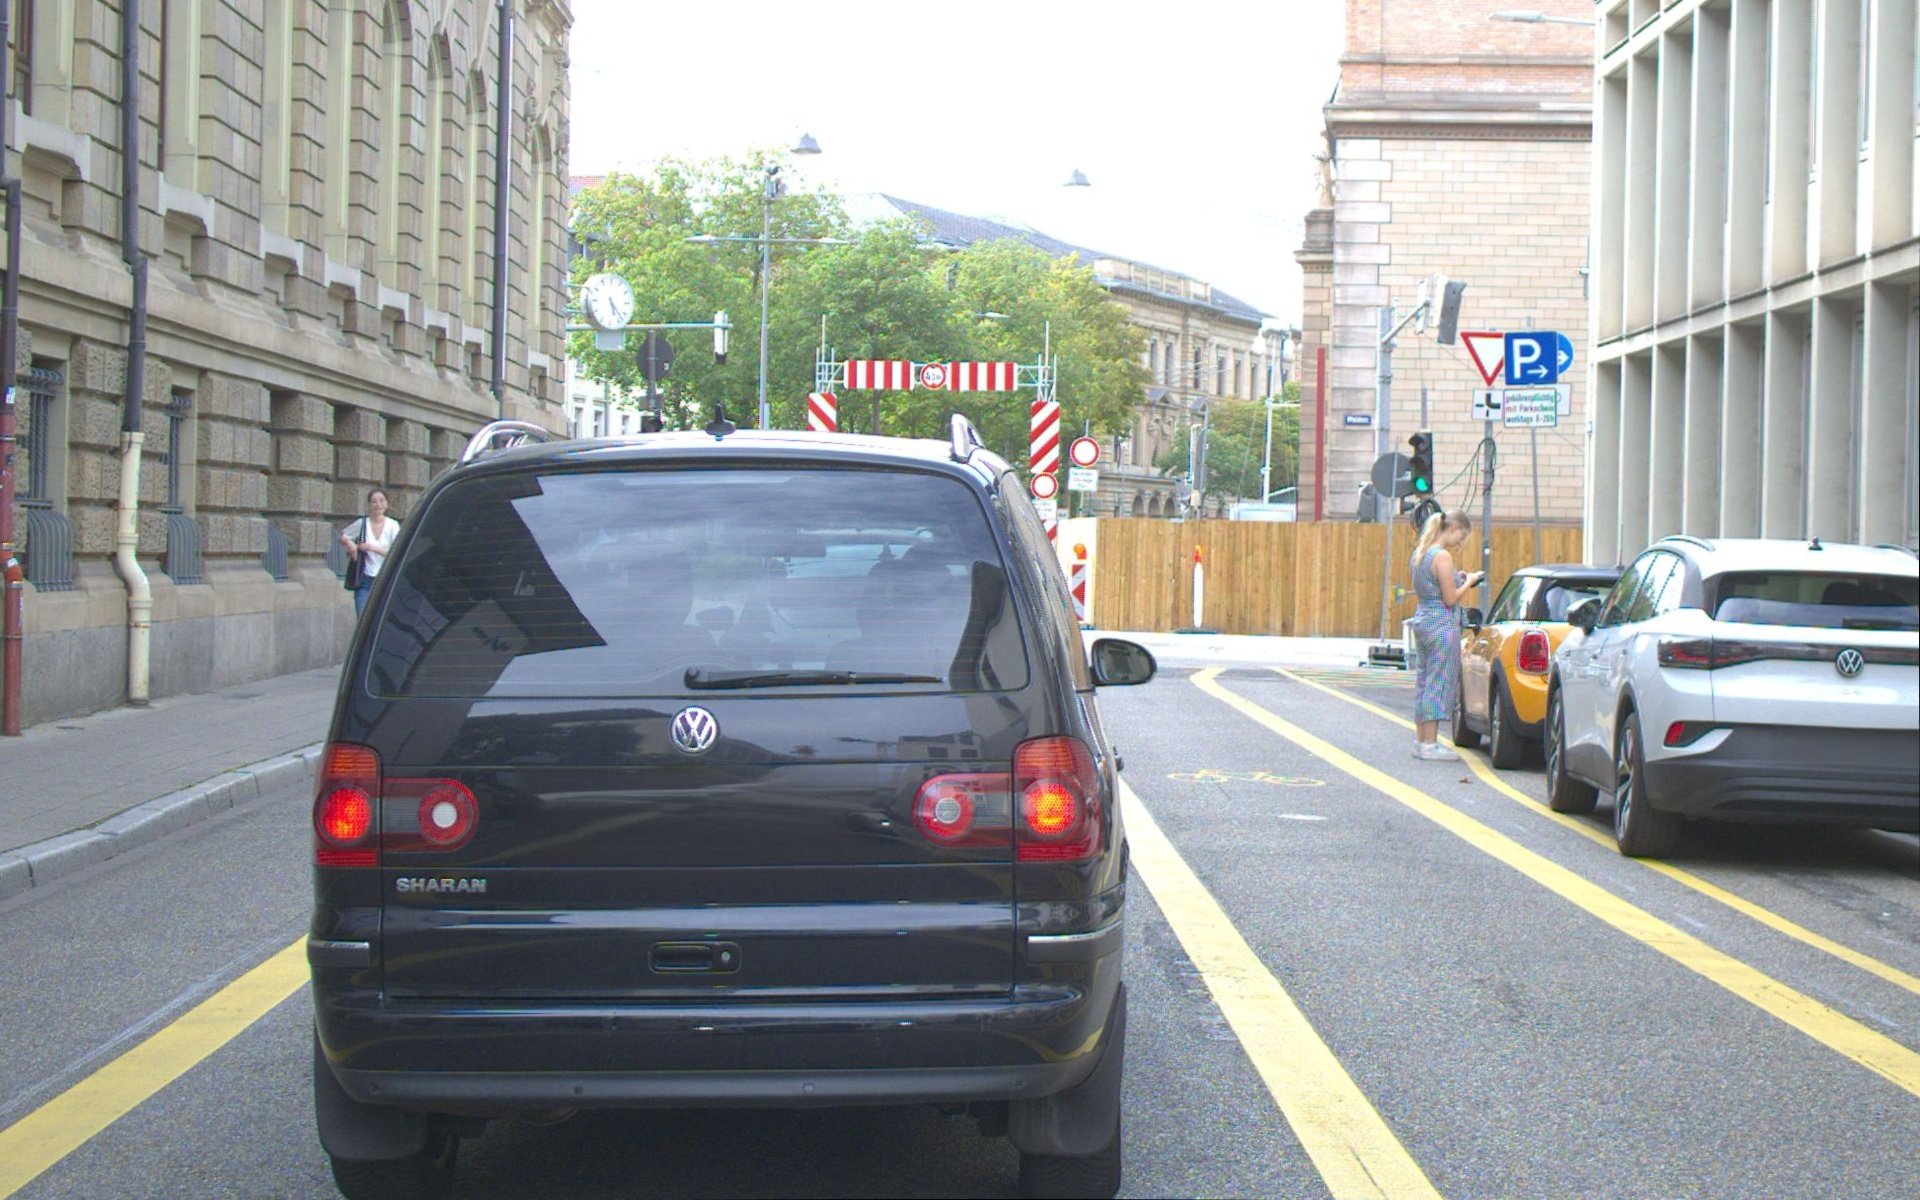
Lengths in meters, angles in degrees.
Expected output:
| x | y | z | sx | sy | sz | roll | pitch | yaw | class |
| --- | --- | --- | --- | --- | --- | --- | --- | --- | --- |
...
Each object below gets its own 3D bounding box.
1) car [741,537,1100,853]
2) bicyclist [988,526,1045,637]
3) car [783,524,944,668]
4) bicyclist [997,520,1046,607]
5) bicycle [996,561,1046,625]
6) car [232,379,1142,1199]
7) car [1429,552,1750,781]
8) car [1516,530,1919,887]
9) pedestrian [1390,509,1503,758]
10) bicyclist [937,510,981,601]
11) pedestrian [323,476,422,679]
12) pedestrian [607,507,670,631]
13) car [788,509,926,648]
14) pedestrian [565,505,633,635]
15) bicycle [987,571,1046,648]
| x | y | z | sx | sy | sz | roll | pitch | yaw | class |
| --- | --- | --- | --- | --- | --- | --- | --- | --- | --- |
| -0.110 | 0.431 | 18.434 | 1.678 | 1.464 | 4.103 | 1 | 1 | 2 | car |
| 0.759 | -0.253 | 46.373 | 0.735 | 1.473 | 0.884 | 1 | 0 | -1 | bicyclist |
| -1.102 | -0.065 | 40.277 | 1.773 | 1.580 | 4.000 | 1 | 1 | -1 | car |
| 0.989 | -0.588 | 55.332 | 0.735 | 1.371 | 0.832 | 1 | 0 | -1 | bicyclist |
| 0.979 | -0.117 | 55.352 | 0.735 | 1.005 | 2.069 | 1 | 1 | -1 | bicycle |
| -0.458 | 0.441 | 8.788 | 1.790 | 1.784 | 4.103 | 0 | 1 | 2 | car |
| 4.510 | 0.428 | 25.138 | 1.680 | 1.430 | 3.886 | 4 | 1 | 2 | car |
| 4.260 | 0.506 | 18.531 | 1.860 | 1.599 | 4.512 | 4 | 1 | 2 | car |
| 3.489 | 0.235 | 24.694 | 0.698 | 1.757 | 0.706 | 1 | 0 | 1 | pedestrian |
| -0.021 | -0.761 | 59.202 | 0.735 | 1.550 | 0.895 | 1 | 0 | -1 | bicyclist |
| -5.402 | -0.209 | 31.668 | 0.664 | 1.813 | 1.048 | 3 | 0 | -1 | pedestrian |
| -4.871 | -0.470 | 52.170 | 0.792 | 1.813 | 1.048 | 3 | 0 | -1 | pedestrian |
| -1.456 | -0.309 | 47.287 | 1.734 | 1.784 | 4.104 | 1 | 1 | -3 | car |
| -5.158 | -0.432 | 49.225 | 0.792 | 1.813 | 1.048 | 3 | 0 | -1 | pedestrian |
| 0.753 | 0.116 | 46.419 | 0.735 | 1.005 | 2.069 | 1 | 1 | -1 | bicycle |
